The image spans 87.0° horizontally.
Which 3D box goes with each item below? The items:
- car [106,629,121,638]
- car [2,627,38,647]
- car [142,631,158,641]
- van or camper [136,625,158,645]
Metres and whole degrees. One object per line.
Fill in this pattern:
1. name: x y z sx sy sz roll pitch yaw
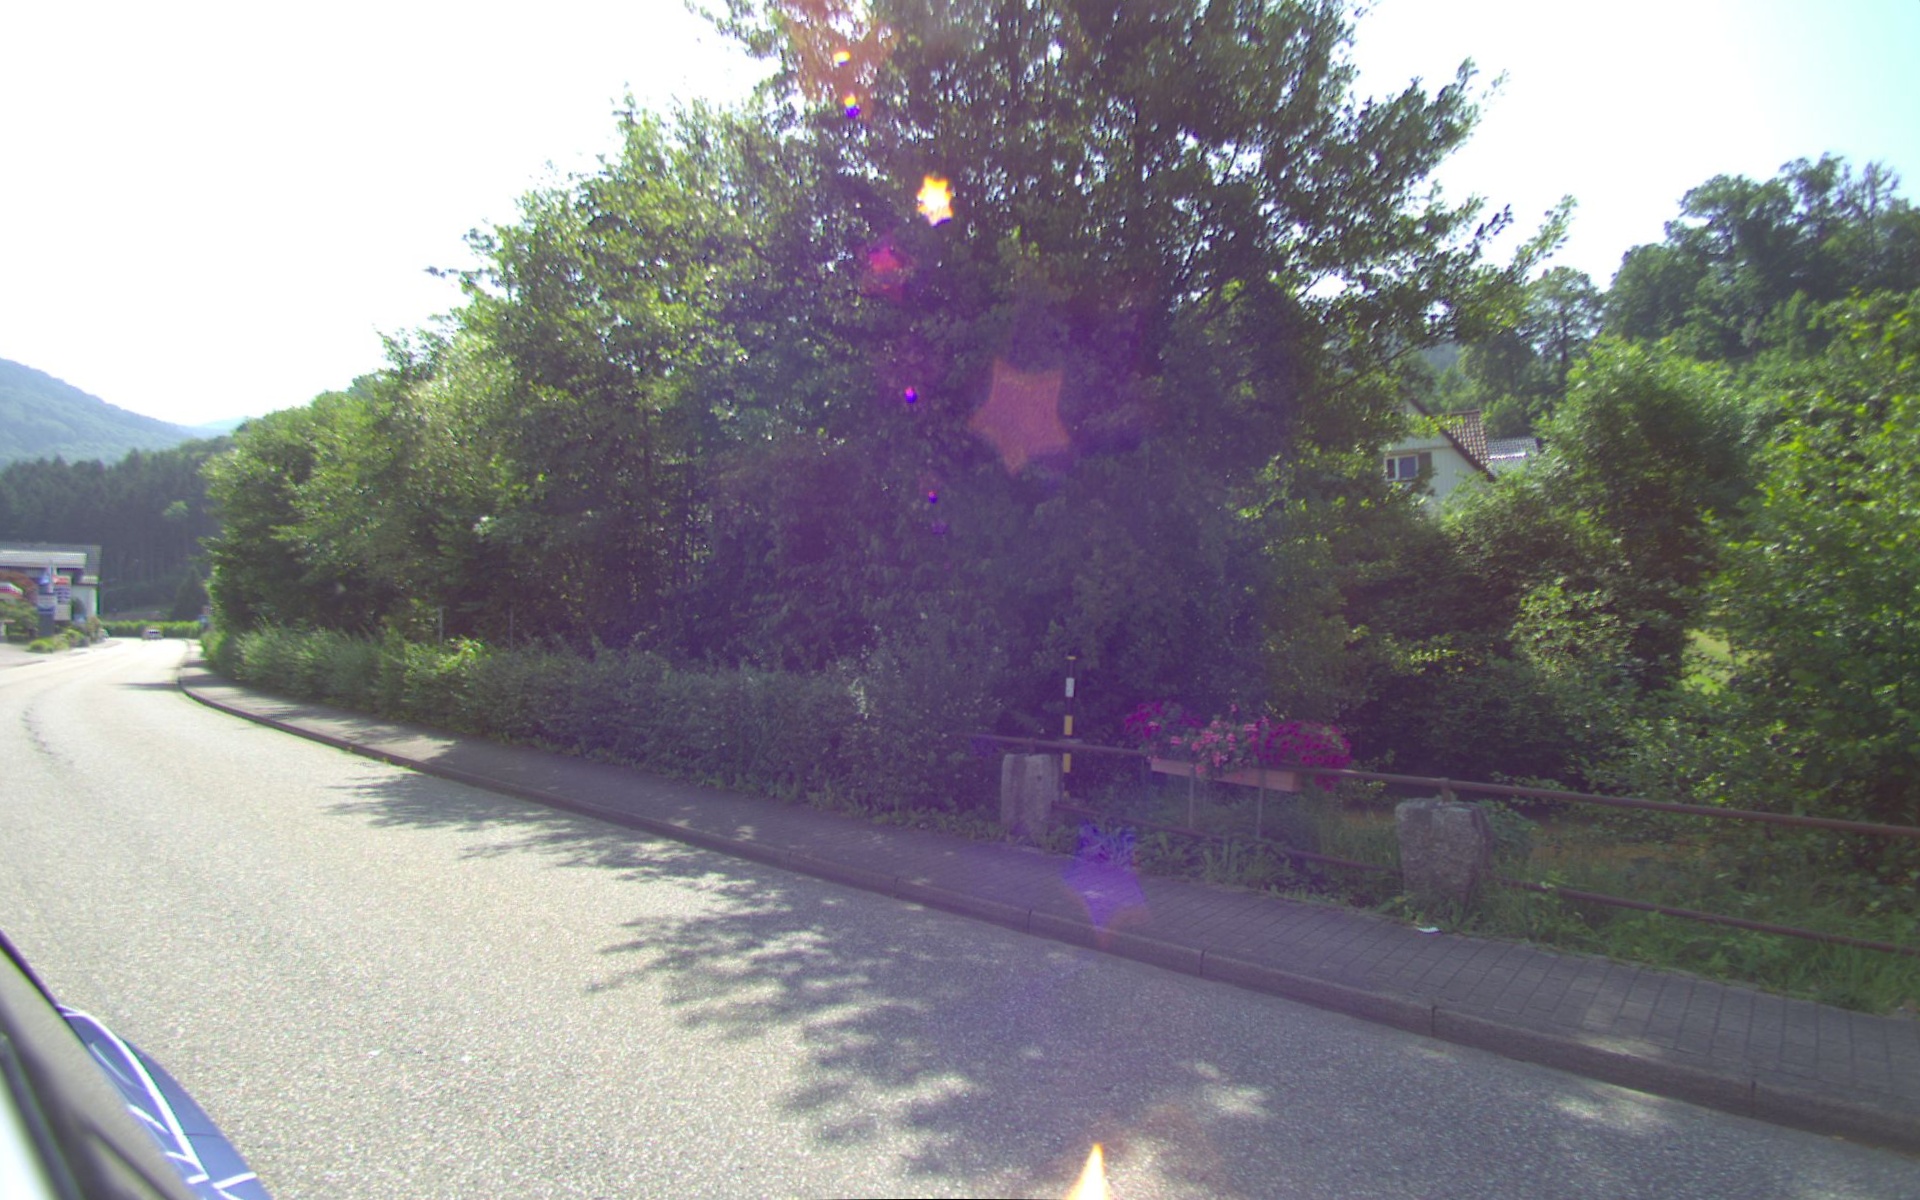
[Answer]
1. car: -137.631 5.474 164.482 1.584 1.416 3.835 5 -4 -37
2. car: -81.569 3.238 87.853 1.670 1.589 3.920 6 -5 -36
3. car: -118.597 5.271 148.183 1.569 1.494 3.766 3 -4 -35
4. van or camper: -126.926 5.547 158.008 2.327 2.976 8.068 3 -4 -37
